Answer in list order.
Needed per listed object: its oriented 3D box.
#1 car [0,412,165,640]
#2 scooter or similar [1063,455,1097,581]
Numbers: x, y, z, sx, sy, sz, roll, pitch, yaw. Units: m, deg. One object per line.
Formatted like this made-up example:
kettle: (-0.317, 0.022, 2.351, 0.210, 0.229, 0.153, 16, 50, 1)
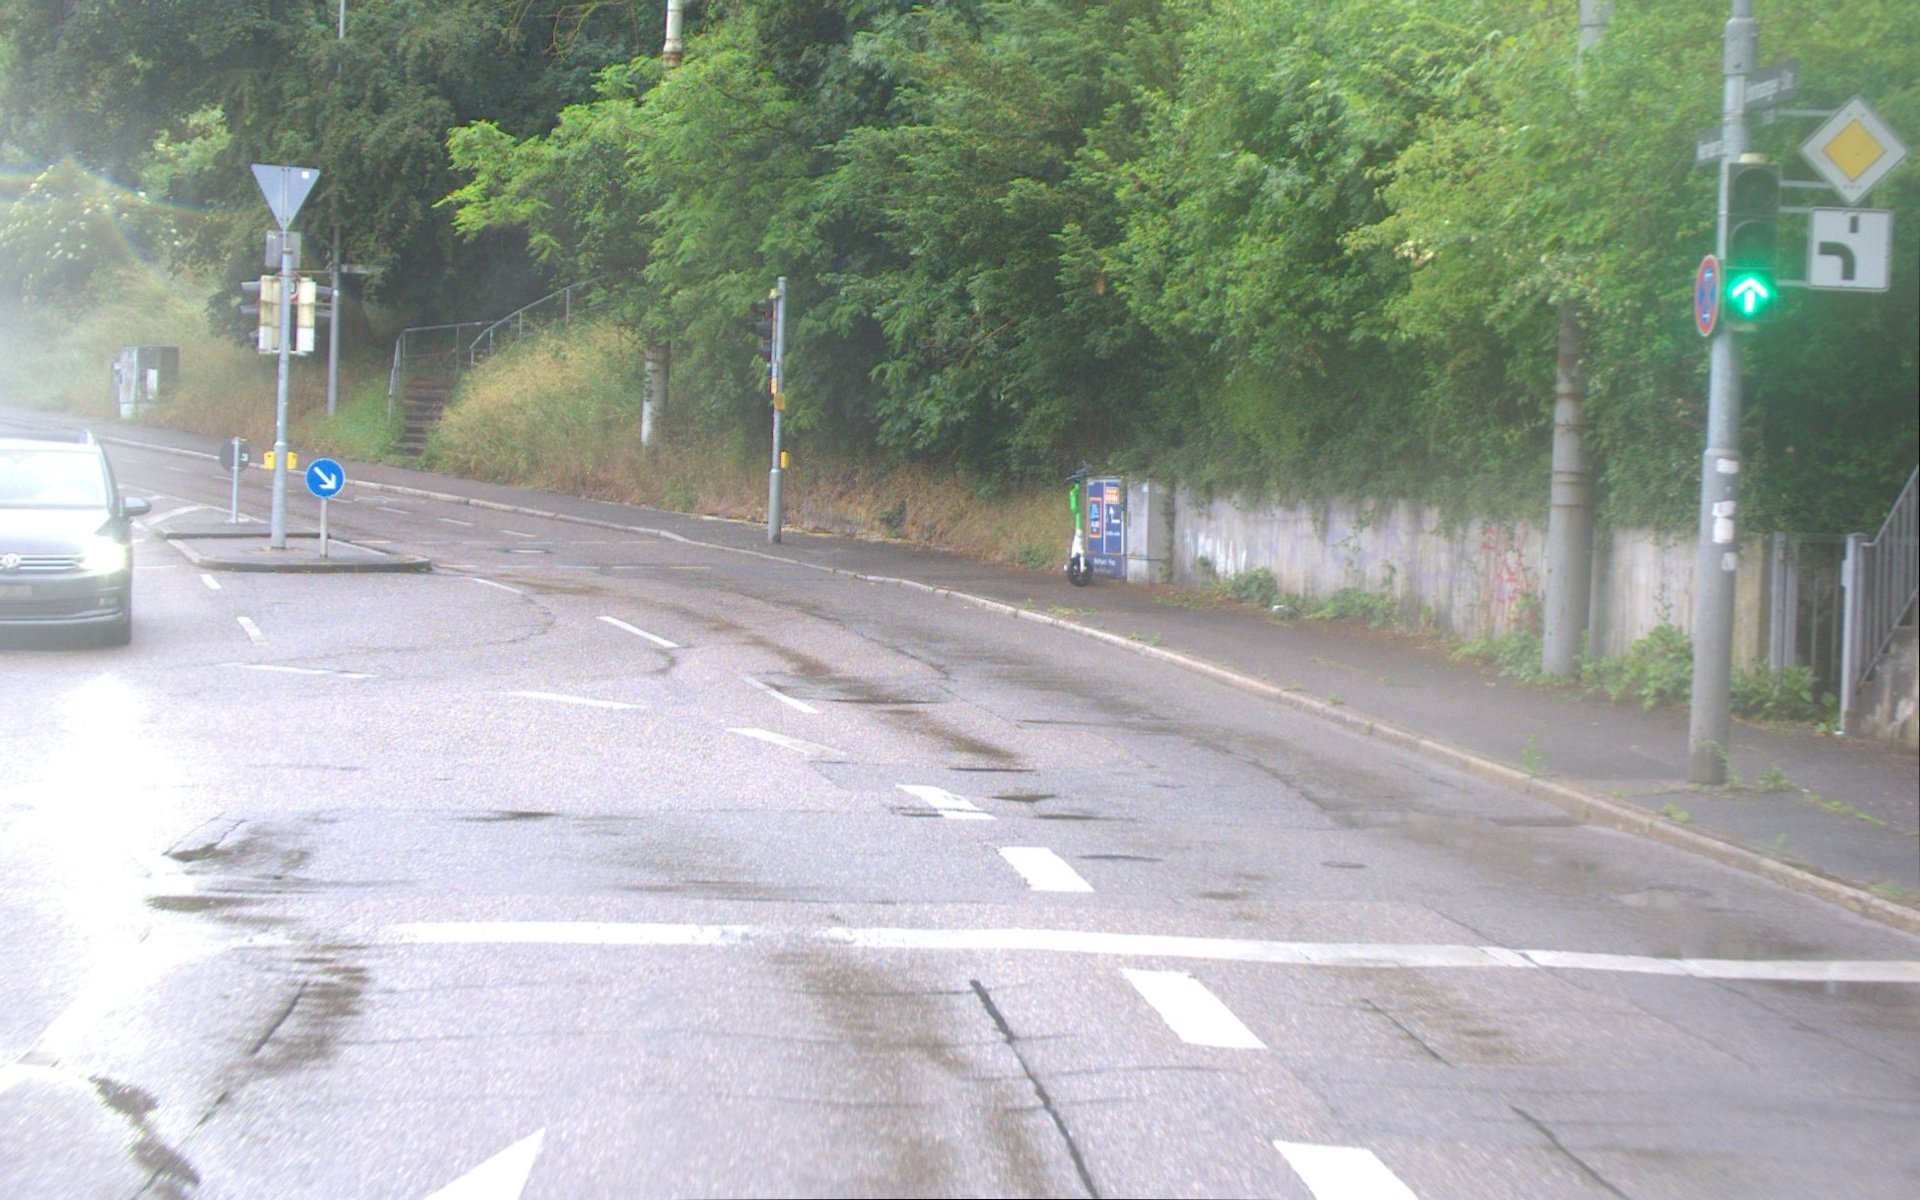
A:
car: (-7.528, -0.660, 27.870, 1.848, 1.674, 4.174, -1, 4, -10)
scooter or similar: (1.253, -0.864, 35.890, 0.322, 1.275, 0.751, 1, 4, 3)
